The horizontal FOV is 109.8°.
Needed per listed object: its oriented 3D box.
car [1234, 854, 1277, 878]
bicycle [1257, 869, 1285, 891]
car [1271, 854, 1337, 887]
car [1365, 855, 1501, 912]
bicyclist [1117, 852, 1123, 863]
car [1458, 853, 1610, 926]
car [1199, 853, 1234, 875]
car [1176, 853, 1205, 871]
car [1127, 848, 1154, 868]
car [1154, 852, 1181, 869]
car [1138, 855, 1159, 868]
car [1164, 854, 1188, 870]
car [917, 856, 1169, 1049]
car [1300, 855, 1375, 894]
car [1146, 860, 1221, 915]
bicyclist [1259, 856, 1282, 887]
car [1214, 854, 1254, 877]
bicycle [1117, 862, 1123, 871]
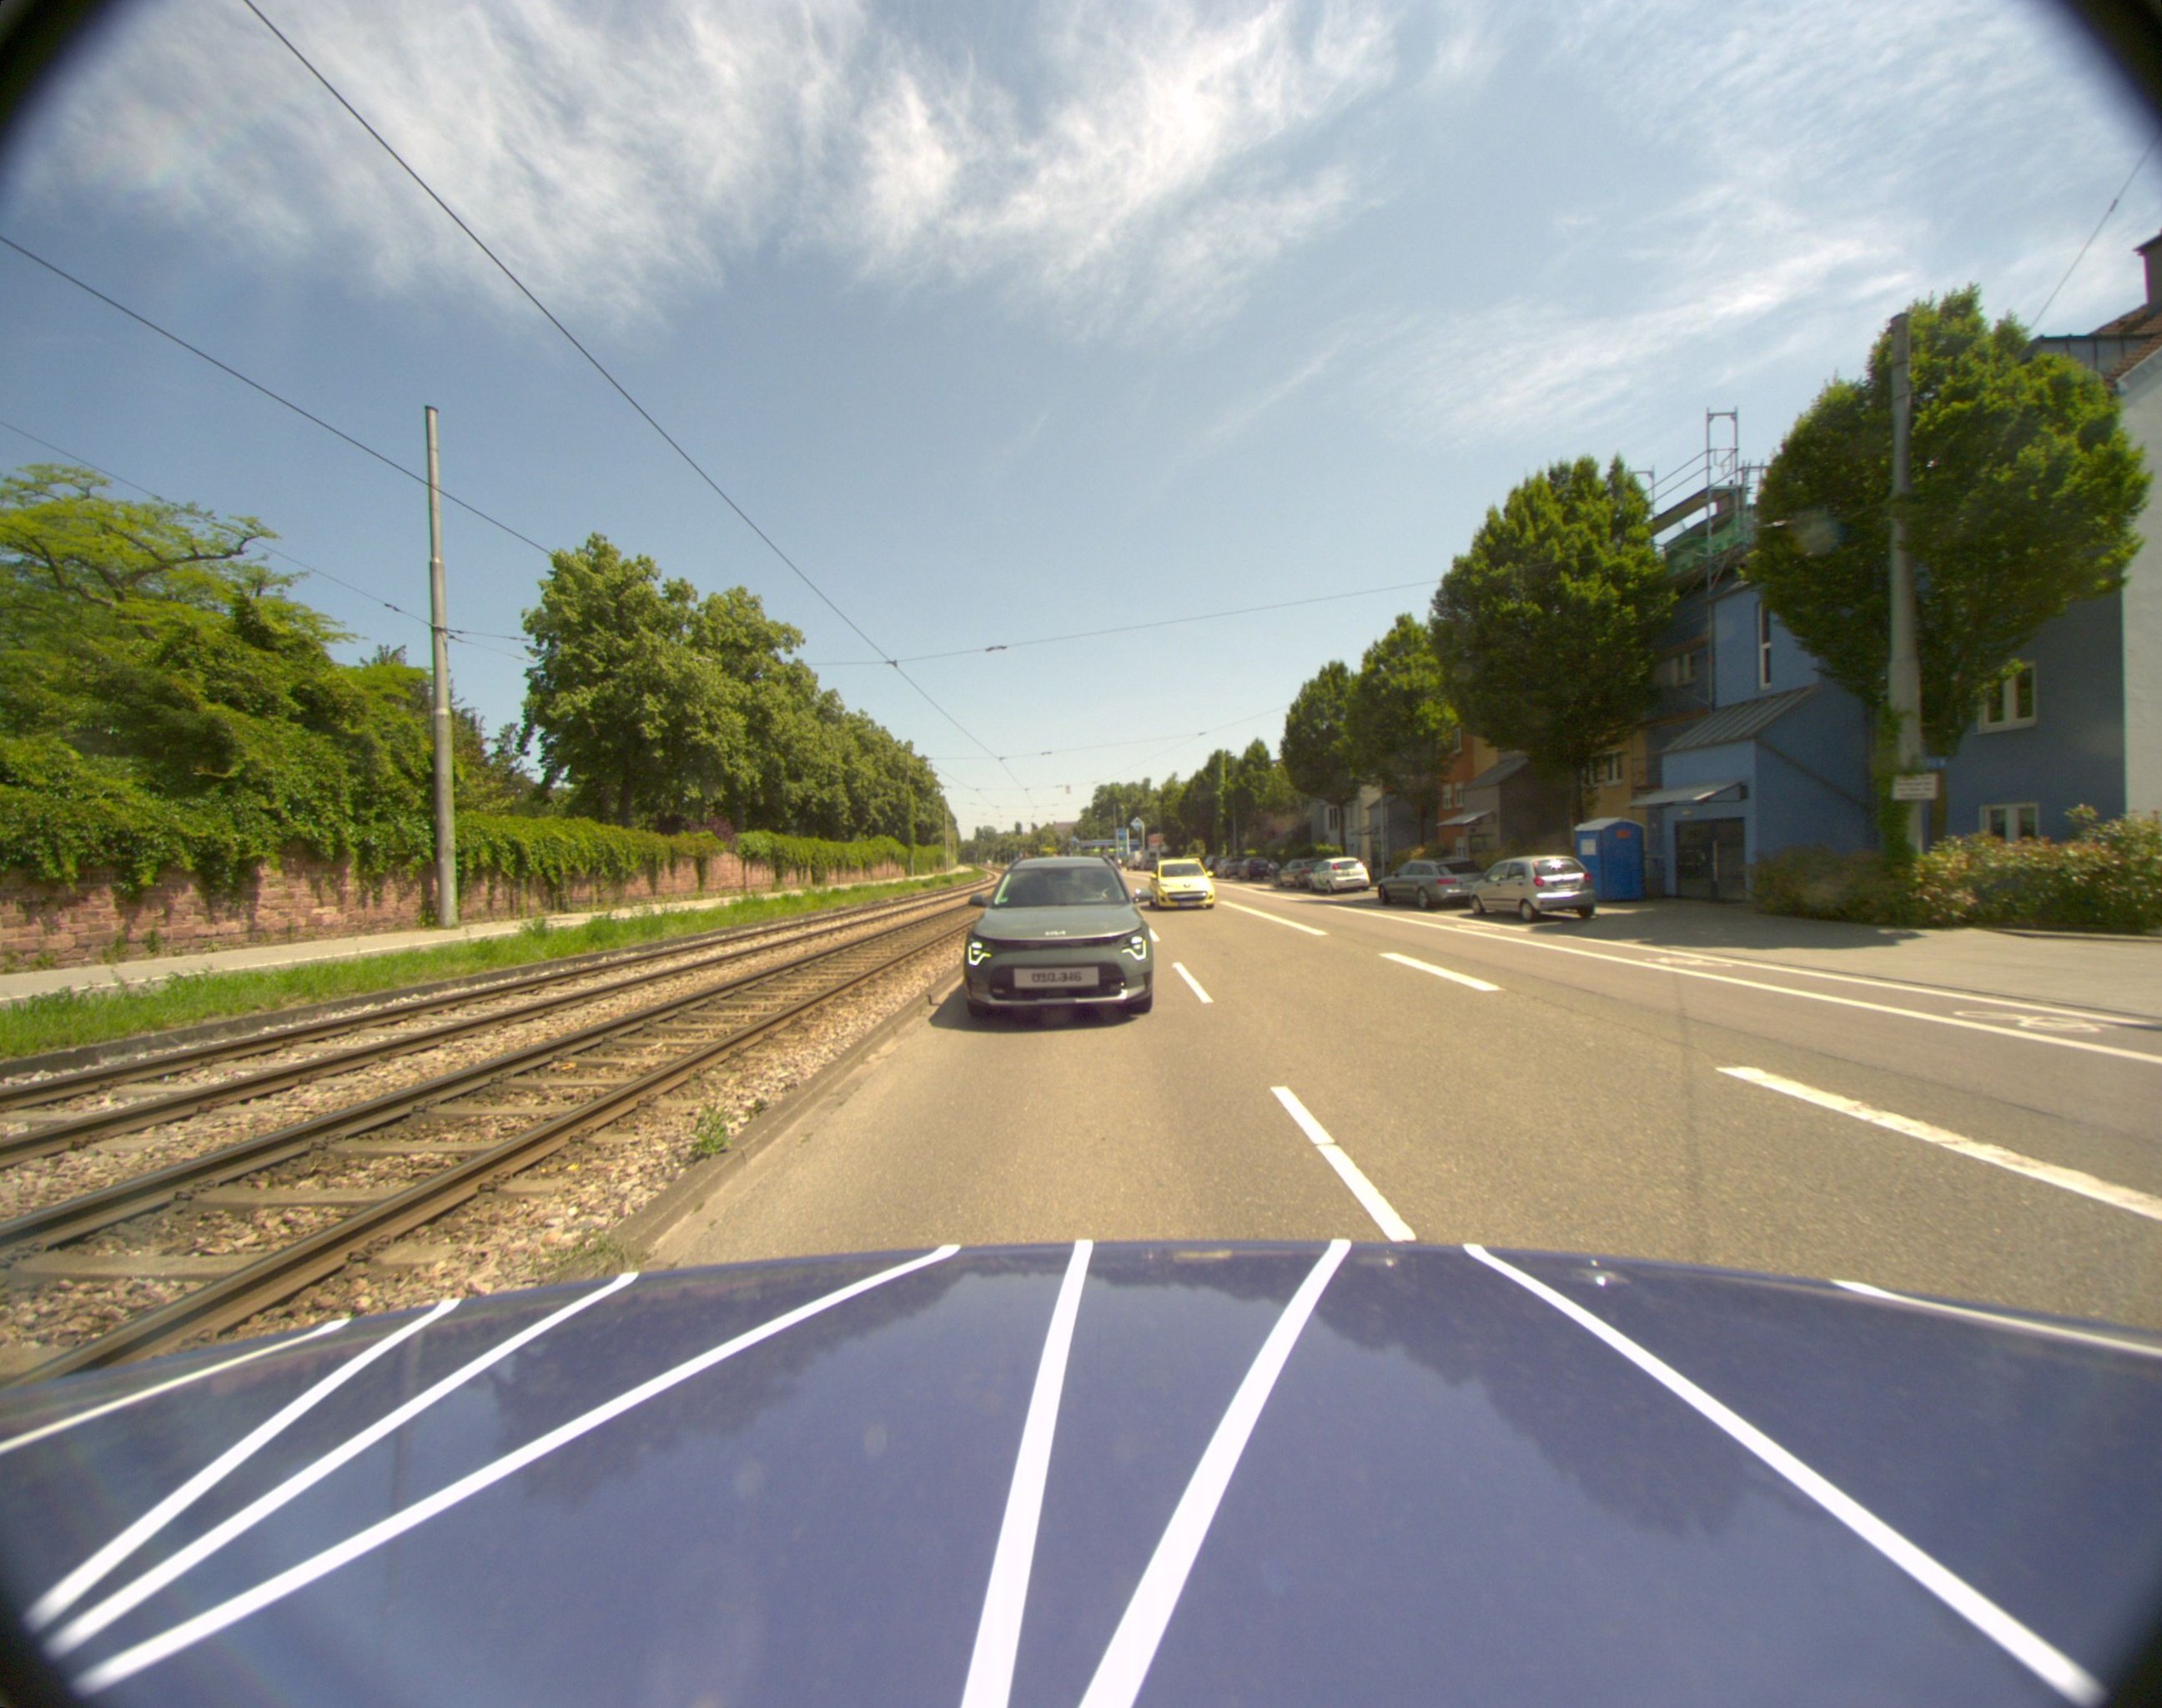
[{"bbox_3d":[11.529,0.790,50.521,1.754,1.424,4.257,-4,0,0],"label":"car"},{"bbox_3d":[8.937,1.217,35.826,0.703,0.945,2.243,1,-1,-2],"label":"bicycle"},{"bbox_3d":[11.490,0.823,39.456,1.708,1.421,4.750,-6,0,-3],"label":"car"},{"bbox_3d":[10.966,0.871,24.150,1.791,1.441,5.133,-5,-1,0],"label":"car"},{"bbox_3d":[5.152,0.455,100.477,0.737,1.496,0.737,0,1,1],"label":"bicyclist"},{"bbox_3d":[11.027,0.802,18.778,1.597,1.487,3.448,-6,0,1],"label":"car"},{"bbox_3d":[10.948,0.786,61.632,1.772,1.579,4.147,-3,0,-3],"label":"car"},{"bbox_3d":[10.477,0.780,72.954,1.845,1.573,4.495,-3,0,-2],"label":"car"},{"bbox_3d":[7.705,0.554,98.990,2.285,2.294,5.226,-3,0,-8],"label":"car"},{"bbox_3d":[9.546,0.662,84.055,1.999,1.783,4.556,-2,0,-5],"label":"car"},{"bbox_3d":[8.228,0.939,92.956,1.870,1.528,4.142,-3,0,-4],"label":"car"},{"bbox_3d":[9.872,0.824,78.846,1.604,1.584,3.680,-3,0,-6],"label":"car"},{"bbox_3d":[-0.223,0.849,8.466,2.062,1.534,4.001,-4,0,3],"label":"car"},{"bbox_3d":[11.389,0.873,34.011,1.750,1.434,4.420,-6,0,0],"label":"car"},{"bbox_3d":[2.985,0.936,22.756,1.695,1.403,3.515,-3,0,0],"label":"car"},{"bbox_3d":[8.936,0.826,35.823,0.737,1.422,1.124,2,0,-2],"label":"bicyclist"},{"bbox_3d":[11.203,0.805,55.811,1.830,1.487,4.756,-3,0,-1],"label":"car"},{"bbox_3d":[5.145,1.630,100.551,0.641,1.089,1.639,1,1,1],"label":"bicycle"}]
